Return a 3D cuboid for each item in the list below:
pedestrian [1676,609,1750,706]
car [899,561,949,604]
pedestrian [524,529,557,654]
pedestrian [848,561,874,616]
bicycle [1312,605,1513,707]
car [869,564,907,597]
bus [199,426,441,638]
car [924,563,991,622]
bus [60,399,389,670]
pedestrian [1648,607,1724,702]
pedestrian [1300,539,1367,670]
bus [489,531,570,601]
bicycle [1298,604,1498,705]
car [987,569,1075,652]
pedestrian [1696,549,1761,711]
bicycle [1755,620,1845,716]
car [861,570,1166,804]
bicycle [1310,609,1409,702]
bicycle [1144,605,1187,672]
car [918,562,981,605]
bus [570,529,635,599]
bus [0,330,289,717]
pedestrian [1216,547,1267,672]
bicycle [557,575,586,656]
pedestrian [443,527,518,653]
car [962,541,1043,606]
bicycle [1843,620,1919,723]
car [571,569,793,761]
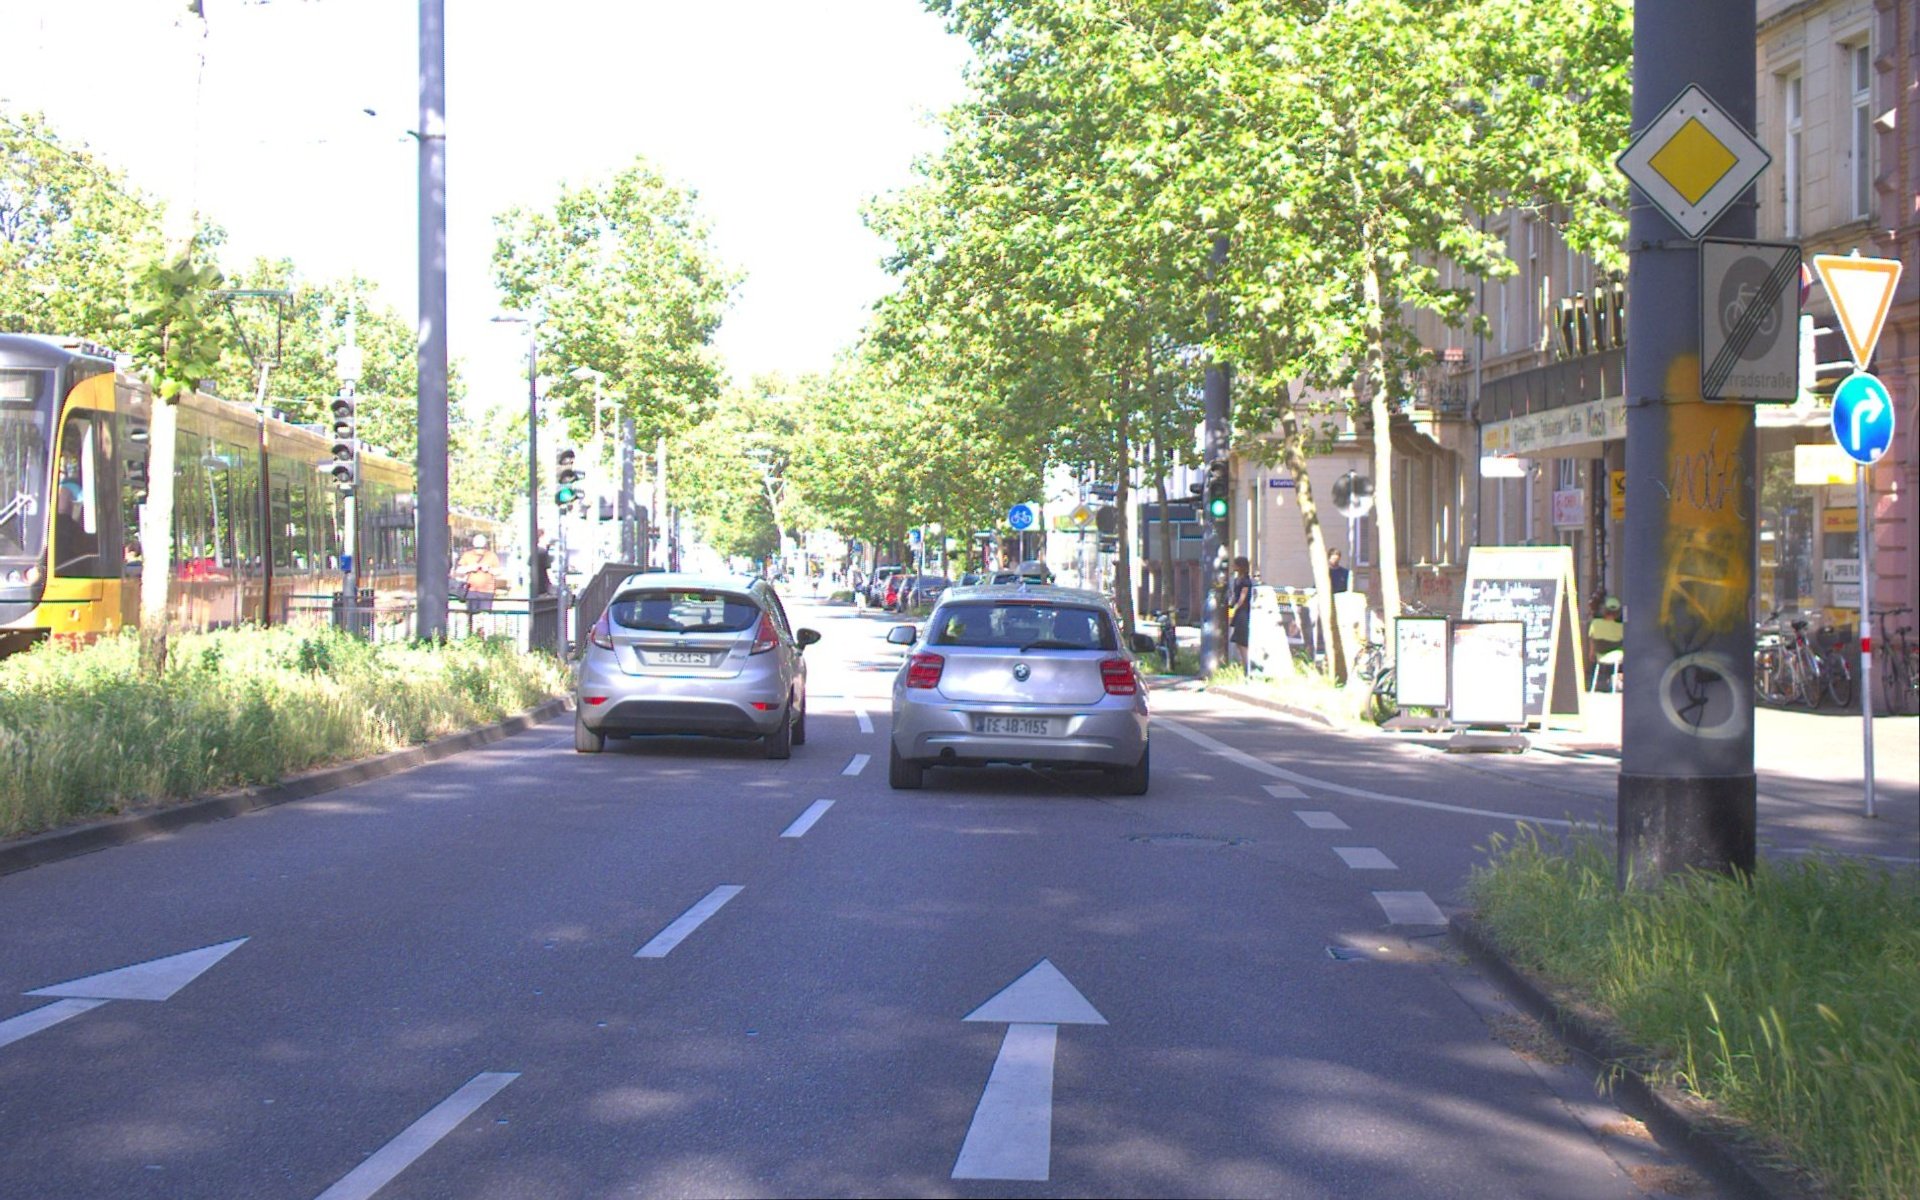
[{"bbox_3d":[9.341,0.707,42.659,0.645,1.157,0.611,2,1,-15],"label":"pedestrian"},{"bbox_3d":[-1.410,-0.700,132.791,1.669,1.546,4.001,2,1,-4],"label":"car"},{"bbox_3d":[-6.452,-0.133,52.822,0.450,1.896,0.585,0,0,-11],"label":"pedestrian"},{"bbox_3d":[-3.665,-0.419,127.256,0.838,2.007,0.648,2,1,3],"label":"pedestrian"},{"bbox_3d":[4.733,0.584,36.001,2.003,0.990,0.444,2,1,-6],"label":"bicycle"},{"bbox_3d":[-3.686,-1.002,175.322,1.700,1.529,3.717,2,1,-4],"label":"car"},{"bbox_3d":[-11.301,-1.166,61.790,2.868,3.432,11.612,0,0,-4],"label":"bus"},{"bbox_3d":[-0.084,-0.234,101.514,1.691,1.652,4.040,0,2,-4],"label":"car"},{"bbox_3d":[-10.366,-0.884,49.815,2.868,3.432,12.216,0,0,-4],"label":"bus"},{"bbox_3d":[9.139,0.690,43.296,0.771,1.157,0.469,2,1,-29],"label":"pedestrian"},{"bbox_3d":[5.886,0.062,54.225,0.882,2.007,0.856,2,1,0],"label":"pedestrian"},{"bbox_3d":[-23.871,-1.989,191.786,2.868,3.616,24.607,1,1,-4],"label":"bus"},{"bbox_3d":[4.650,0.575,36.533,2.013,0.990,0.444,2,1,-6],"label":"bicycle"},{"bbox_3d":[1.740,0.241,86.020,1.754,1.958,4.738,1,1,-4],"label":"car"},{"bbox_3d":[8.729,0.333,39.035,0.468,1.804,0.773,3,1,28],"label":"pedestrian"},{"bbox_3d":[9.462,0.755,38.771,0.442,0.990,1.689,2,1,-5],"label":"bicycle"},{"bbox_3d":[0.300,0.558,24.636,1.762,1.427,4.001,2,1,-5],"label":"car"},{"bbox_3d":[4.609,0.631,39.754,0.442,0.990,1.689,2,1,-18],"label":"bicycle"},{"bbox_3d":[3.217,0.595,53.921,0.428,0.967,1.751,2,1,-4],"label":"bicycle"},{"bbox_3d":[-0.407,-0.598,127.711,1.993,1.504,4.598,2,0,-4],"label":"car"},{"bbox_3d":[-19.575,-2.059,189.036,2.749,3.613,18.850,1,1,-4],"label":"bus"},{"bbox_3d":[-9.571,-0.742,37.059,2.868,3.432,13.218,0,0,-4],"label":"bus"},{"bbox_3d":[4.083,0.129,49.930,0.642,1.765,0.868,2,1,2],"label":"pedestrian"},{"bbox_3d":[-5.957,0.226,52.684,0.328,1.210,1.829,0,0,-10],"label":"bicycle"},{"bbox_3d":[-7.313,-0.156,52.474,1.072,1.909,1.127,0,0,-6],"label":"pedestrian"},{"bbox_3d":[1.122,-0.715,92.309,1.798,1.694,4.738,0,0,-4],"label":"car"},{"bbox_3d":[9.741,0.740,35.878,0.442,0.990,1.689,2,1,-5],"label":"bicycle"},{"bbox_3d":[-2.231,0.481,28.090,1.646,1.358,3.760,2,1,-3],"label":"car"}]
